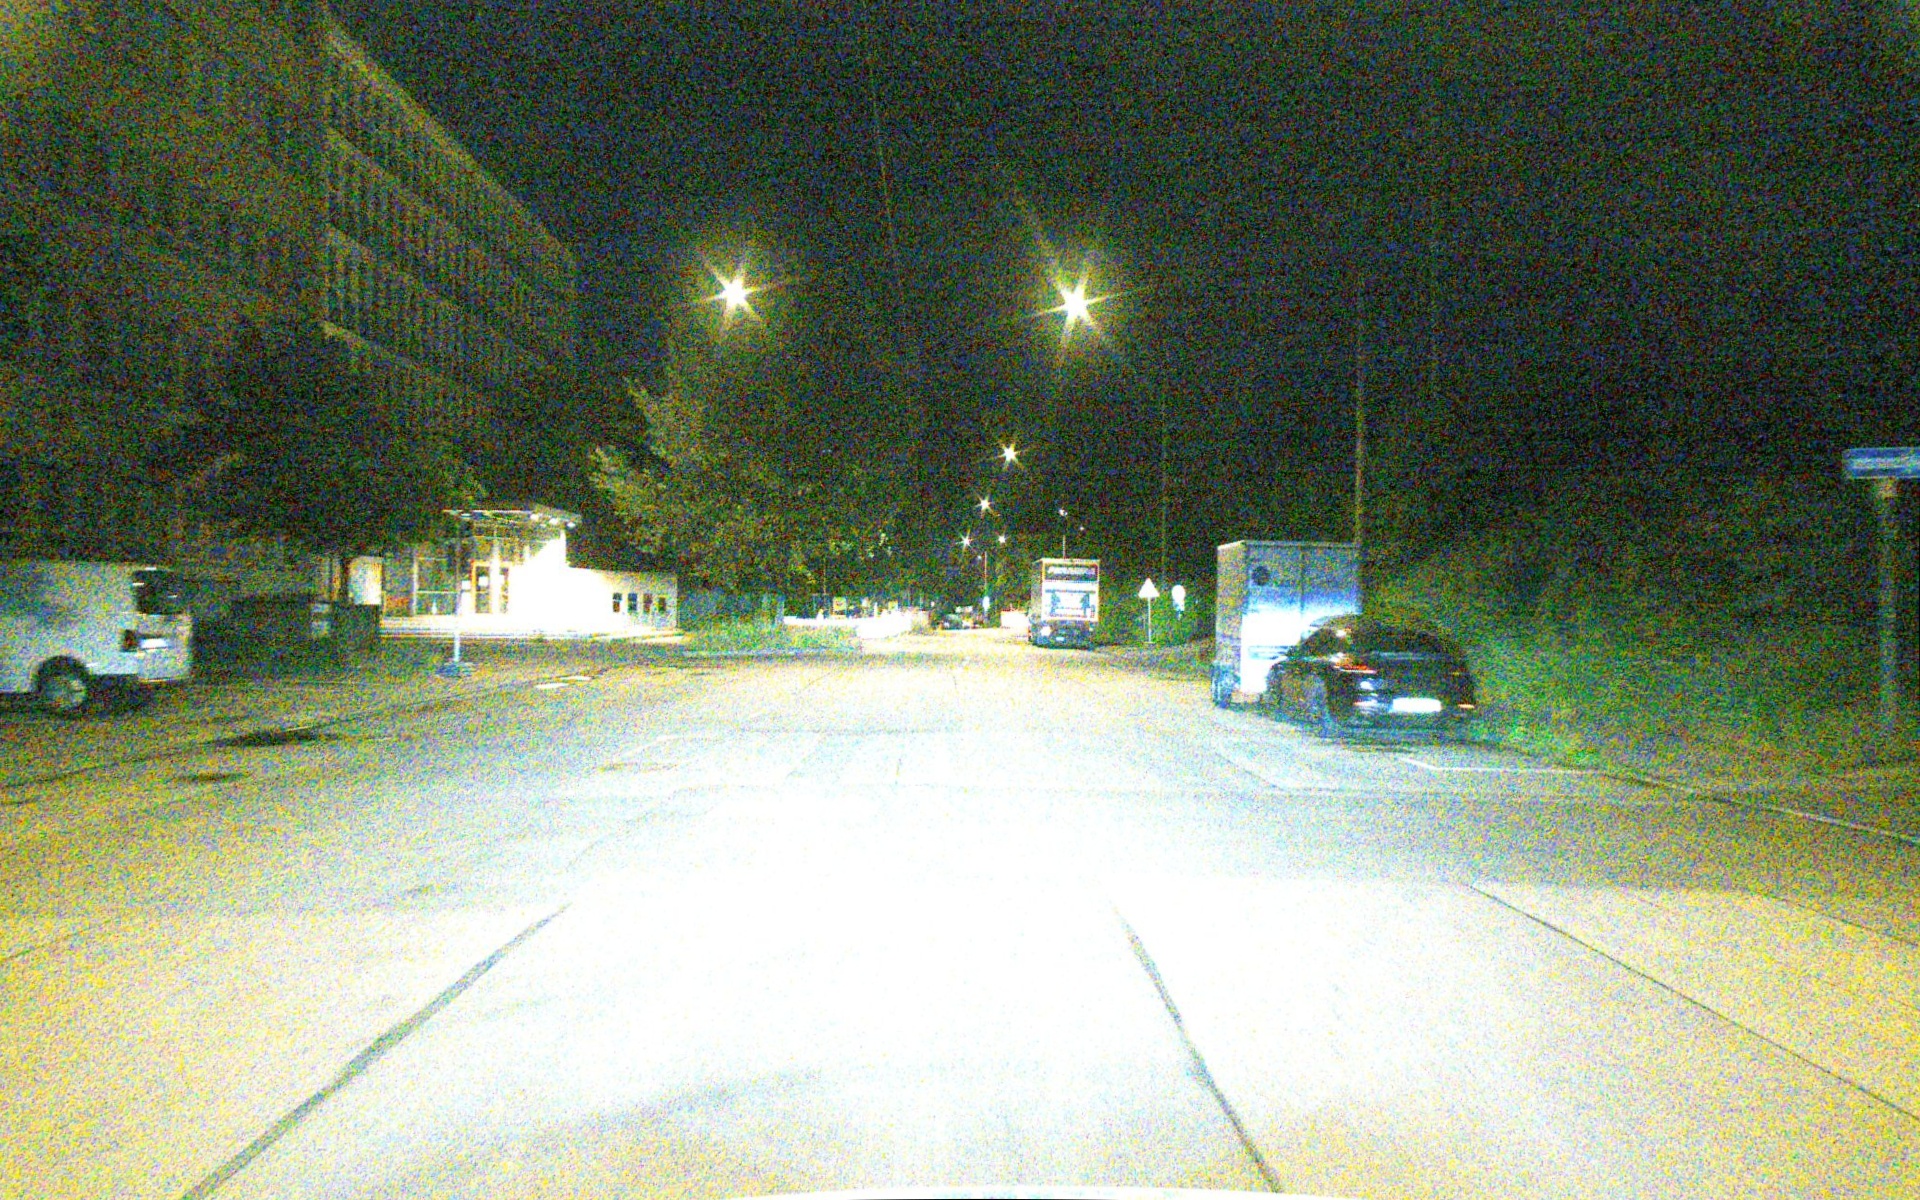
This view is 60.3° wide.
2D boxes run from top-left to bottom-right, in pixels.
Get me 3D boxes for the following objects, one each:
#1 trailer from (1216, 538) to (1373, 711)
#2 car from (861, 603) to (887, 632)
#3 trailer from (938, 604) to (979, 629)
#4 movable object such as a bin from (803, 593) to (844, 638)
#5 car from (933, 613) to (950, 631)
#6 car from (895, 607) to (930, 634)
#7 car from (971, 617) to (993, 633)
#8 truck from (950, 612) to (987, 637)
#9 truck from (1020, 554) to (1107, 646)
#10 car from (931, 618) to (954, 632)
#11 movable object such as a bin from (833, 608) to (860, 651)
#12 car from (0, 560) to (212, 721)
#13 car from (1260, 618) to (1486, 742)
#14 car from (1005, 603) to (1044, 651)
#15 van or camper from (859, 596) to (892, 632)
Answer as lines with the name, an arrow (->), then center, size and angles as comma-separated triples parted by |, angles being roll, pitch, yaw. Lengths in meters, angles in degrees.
trailer -> 5.578, 0.384, 28.080 | 1.952, 2.697, 4.001 | 1, 0, 2
car -> -9.119, 1.850, 175.537 | 2.468, 2.979, 7.198 | -1, -1, -2
trailer -> -0.158, 1.578, 153.860 | 1.541, 2.198, 5.173 | -1, -1, -28
movable object such as a bin -> -7.715, 0.895, 93.295 | 1.526, 2.511, 2.821 | -1, -1, -21
car -> -1.911, 2.270, 168.705 | 1.685, 1.690, 3.999 | 1, -2, 0
car -> -5.861, 2.523, 205.304 | 2.465, 3.227, 7.143 | -2, -1, 13
car -> 2.654, 3.015, 197.277 | 1.684, 1.853, 4.002 | 1, -2, 14
truck -> 1.215, 3.481, 234.450 | 1.953, 3.463, 8.976 | 1, 0, 23
truck -> 4.660, 0.059, 76.418 | 3.256, 3.936, 9.325 | 1, -1, -1
car -> -2.316, 3.357, 221.212 | 1.951, 1.729, 4.209 | 0, -2, 14
movable object such as a bin -> -7.787, 1.961, 112.988 | 1.541, 2.781, 3.695 | -2, 0, -7
car -> -12.531, 0.485, 21.853 | 4.342, 2.006, 1.999 | 1, 0, -1
car -> 5.400, 0.988, 22.234 | 1.692, 1.411, 4.674 | 1, 0, -2
car -> 3.659, 1.499, 94.254 | 2.065, 2.560, 6.373 | 1, 0, 2
van or camper -> -7.621, 1.283, 150.613 | 2.467, 3.148, 7.445 | -1, -1, 1
